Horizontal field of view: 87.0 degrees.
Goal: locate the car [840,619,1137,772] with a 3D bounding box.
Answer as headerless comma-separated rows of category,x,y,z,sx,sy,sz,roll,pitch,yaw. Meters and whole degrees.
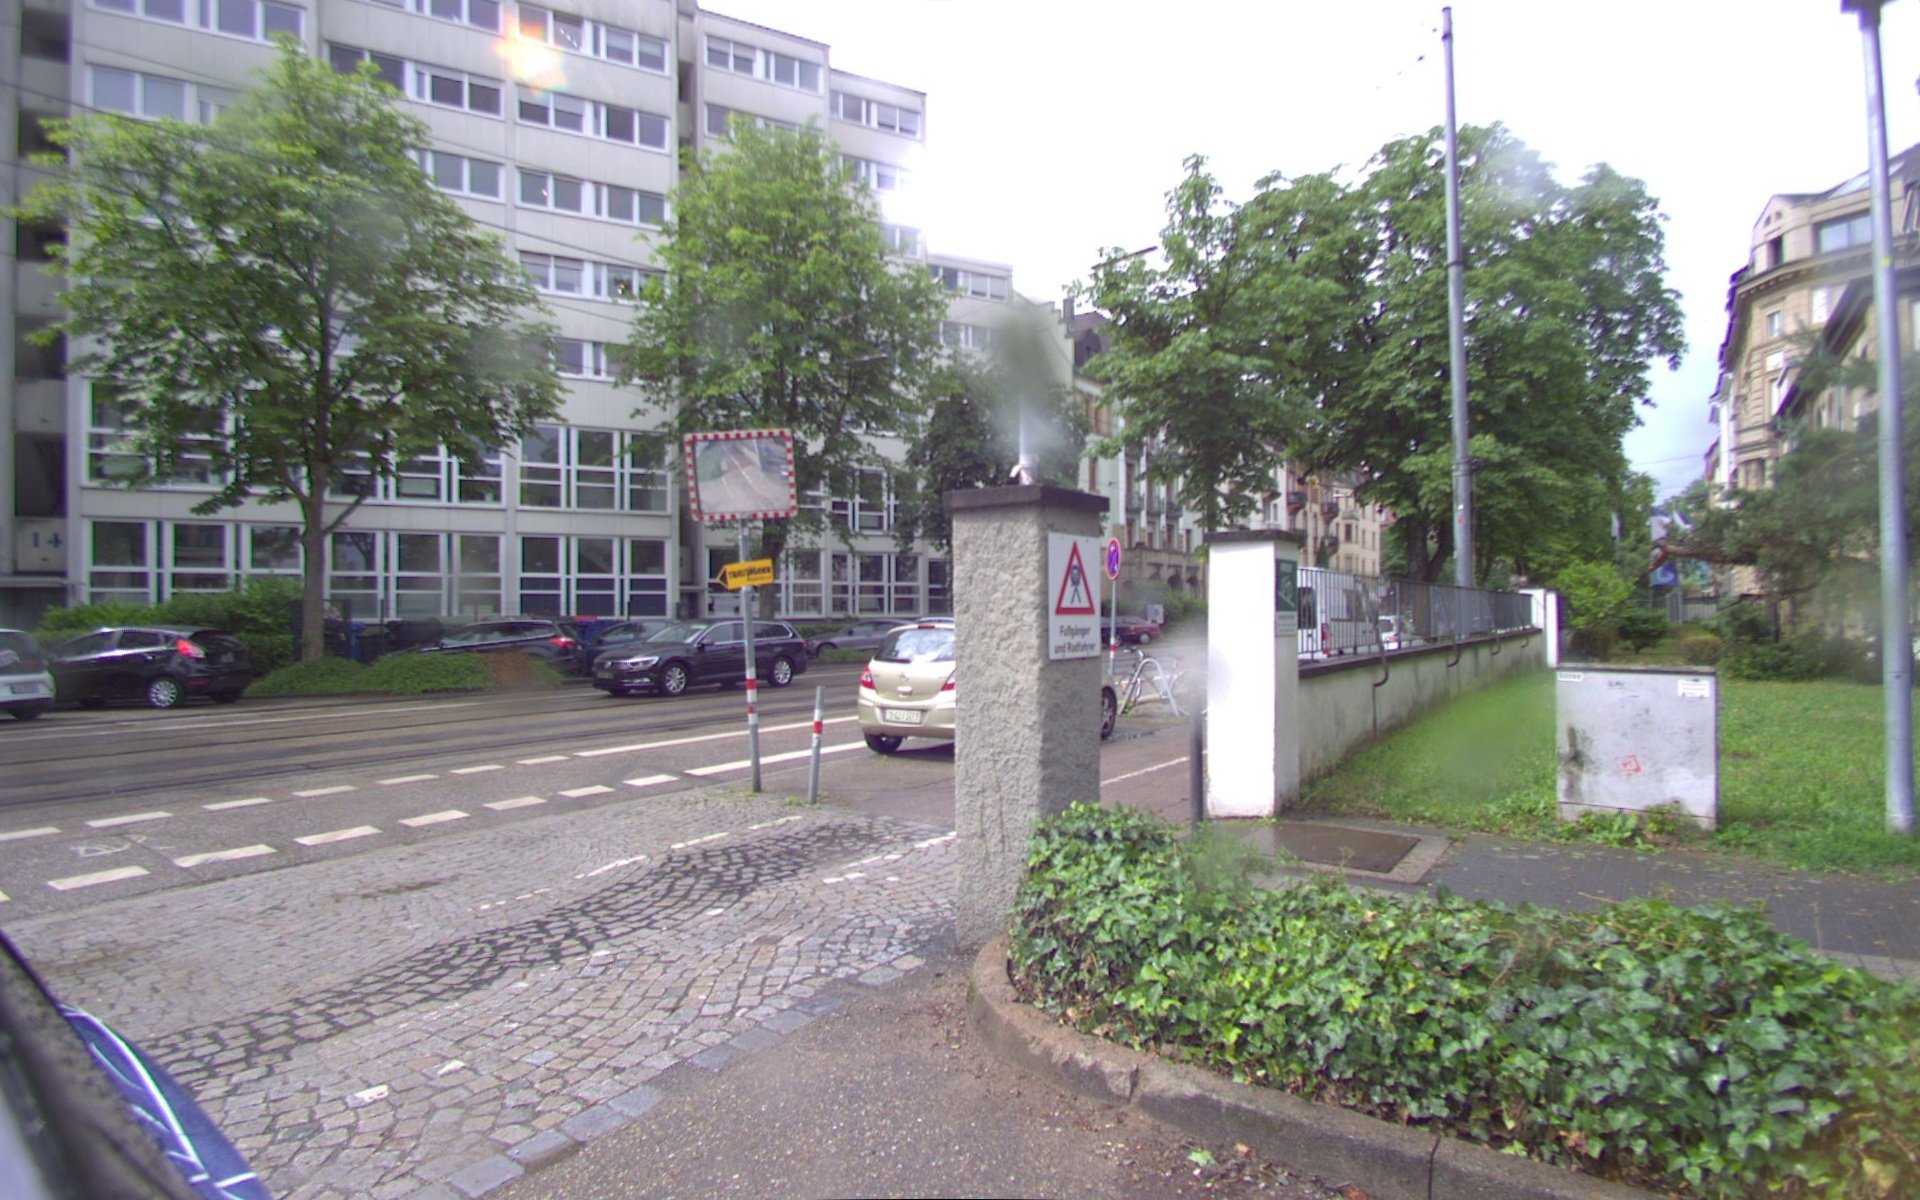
car,0.491,0.998,11.957,1.686,1.471,3.787,-3,-2,35

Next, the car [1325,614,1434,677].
car,11.342,1.205,27.272,1.911,1.562,3.328,-3,-3,37

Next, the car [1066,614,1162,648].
car,7.582,1.519,50.250,4.377,1.463,1.906,-2,-1,-1

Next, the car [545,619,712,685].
car,-8.434,1.300,26.042,3.819,1.465,1.826,-2,-1,-9

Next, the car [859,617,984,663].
car,-1.448,1.436,36.883,4.325,1.463,1.889,-2,-1,-8

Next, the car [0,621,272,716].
car,-14.791,1.175,17.955,3.920,1.492,1.817,-1,-1,-2

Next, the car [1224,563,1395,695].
car,7.806,0.629,22.261,2.135,2.529,5.210,-3,-2,35

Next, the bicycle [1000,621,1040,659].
bicycle,2.156,1.407,36.239,0.643,1.275,1.849,-3,-1,30

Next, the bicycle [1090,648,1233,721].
bicycle,2.965,1.260,15.015,1.923,0.994,0.677,-4,-2,35

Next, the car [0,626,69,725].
car,-15.978,1.140,15.343,3.355,1.463,1.713,0,-1,-6

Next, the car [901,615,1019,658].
car,-0.040,1.394,39.491,4.302,1.463,1.909,-2,-1,-8

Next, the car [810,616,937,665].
car,-2.996,1.358,34.418,4.140,1.463,1.817,-2,-1,-8

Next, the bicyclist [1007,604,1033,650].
bicyclist,2.138,0.966,36.249,0.643,1.630,0.667,-3,-1,30

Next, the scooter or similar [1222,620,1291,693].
scooter or similar,5.340,1.008,18.249,1.136,1.287,0.425,0,-3,11

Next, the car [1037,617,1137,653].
car,5.915,1.640,47.591,4.377,1.463,1.906,-2,-1,-1

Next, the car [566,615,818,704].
car,-5.160,1.104,20.124,1.995,1.492,4.709,-3,-2,34

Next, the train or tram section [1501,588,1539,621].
train or tram section,69.803,0.542,125.974,3.016,3.902,9.461,-3,-1,35

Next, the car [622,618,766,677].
car,-7.555,1.343,29.088,3.819,1.465,1.781,-2,-1,-9

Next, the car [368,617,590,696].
car,-11.034,1.282,23.508,4.300,1.567,1.882,-2,-2,-10
